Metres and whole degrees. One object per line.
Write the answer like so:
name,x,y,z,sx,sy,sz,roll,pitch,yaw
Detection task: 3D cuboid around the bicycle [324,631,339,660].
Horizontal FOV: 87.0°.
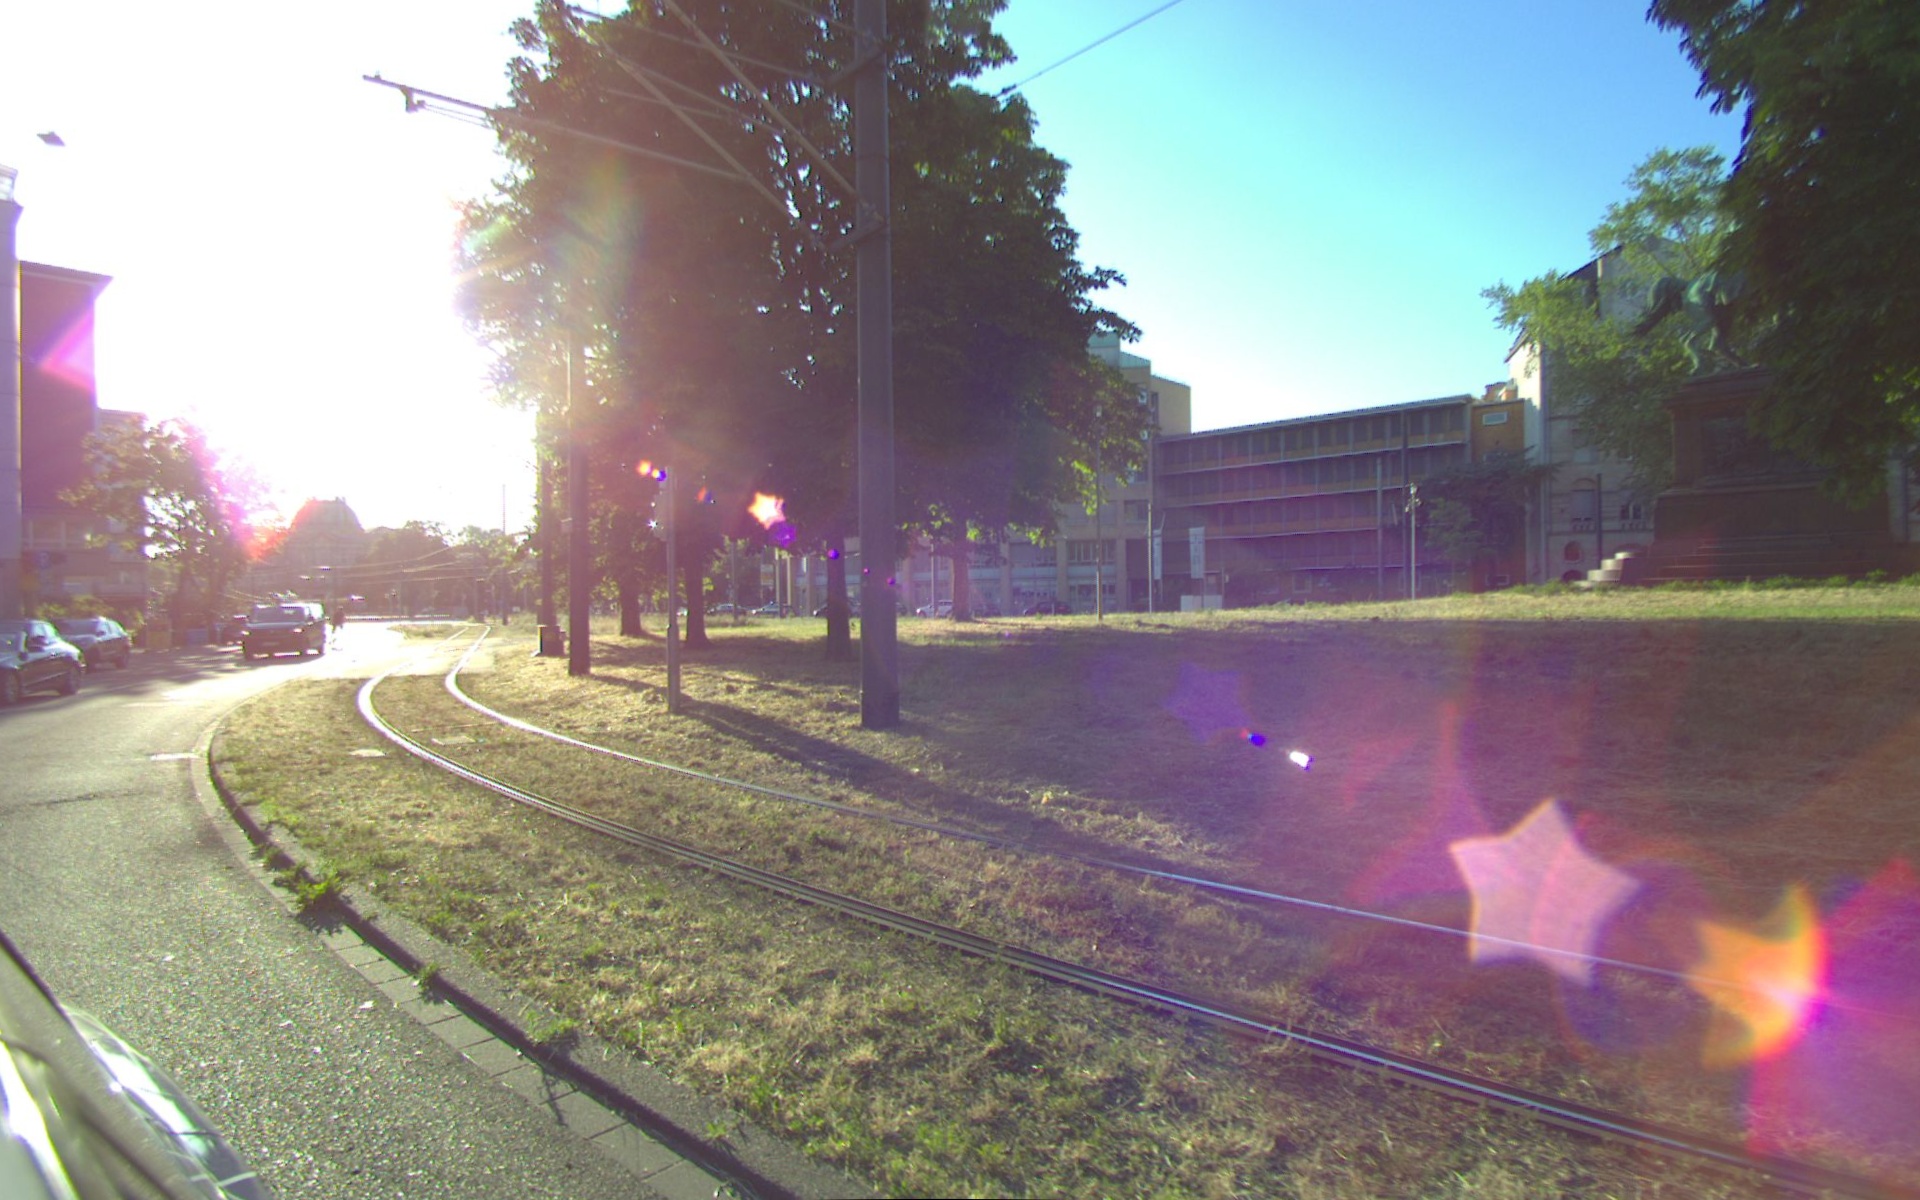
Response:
bicycle,-28.206,2.042,45.440,0.521,1.167,1.854,-3,2,-32

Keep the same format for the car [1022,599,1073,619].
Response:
car,6.613,0.677,76.596,3.509,1.364,1.538,-2,0,32

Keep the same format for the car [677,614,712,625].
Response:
car,-34.113,2.498,130.225,3.941,1.431,1.904,-1,-1,-45

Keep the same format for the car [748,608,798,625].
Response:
car,-17.216,1.521,93.061,4.778,1.491,1.869,-2,0,41

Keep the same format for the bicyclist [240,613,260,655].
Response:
bicyclist,-31.121,1.490,44.343,0.665,1.821,0.996,-1,0,-34

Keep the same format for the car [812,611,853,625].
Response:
car,-11.086,1.549,87.753,3.596,1.162,1.504,-2,-1,40

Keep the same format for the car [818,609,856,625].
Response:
car,-11.893,1.619,97.535,3.515,1.364,1.535,-2,0,37

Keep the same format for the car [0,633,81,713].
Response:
car,-17.950,1.323,18.459,1.746,1.317,4.254,-1,0,-25

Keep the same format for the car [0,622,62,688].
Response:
car,-24.795,1.358,26.027,1.584,1.568,3.622,2,-1,-26

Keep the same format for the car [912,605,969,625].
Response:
car,-1.537,1.199,79.649,4.301,1.493,1.754,-2,-1,36

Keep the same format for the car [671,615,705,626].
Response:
car,-36.665,2.786,136.464,1.902,1.431,3.945,-2,-1,42

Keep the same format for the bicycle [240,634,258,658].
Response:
bicycle,-31.135,2.007,44.354,0.567,1.035,1.862,-1,-1,-33

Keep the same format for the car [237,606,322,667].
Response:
car,-24.574,1.276,36.714,1.888,2.005,4.963,-1,0,-26

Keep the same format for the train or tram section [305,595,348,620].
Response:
train or tram section,-96.500,1.127,154.071,10.566,3.562,2.744,-2,0,41

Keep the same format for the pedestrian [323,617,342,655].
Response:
pedestrian,-28.179,1.621,45.431,0.668,1.661,0.904,-2,0,-32

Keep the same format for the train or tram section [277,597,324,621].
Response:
train or tram section,-105.521,1.429,161.796,13.246,3.562,2.744,-2,0,42

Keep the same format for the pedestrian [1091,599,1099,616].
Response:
pedestrian,11.099,0.610,83.189,0.485,1.441,0.409,-2,-1,42

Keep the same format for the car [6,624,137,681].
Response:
car,-26.724,1.530,30.598,1.756,1.568,4.248,1,-1,-24

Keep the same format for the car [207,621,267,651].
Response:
car,-37.930,1.890,53.179,1.703,1.483,3.912,1,-1,-23
